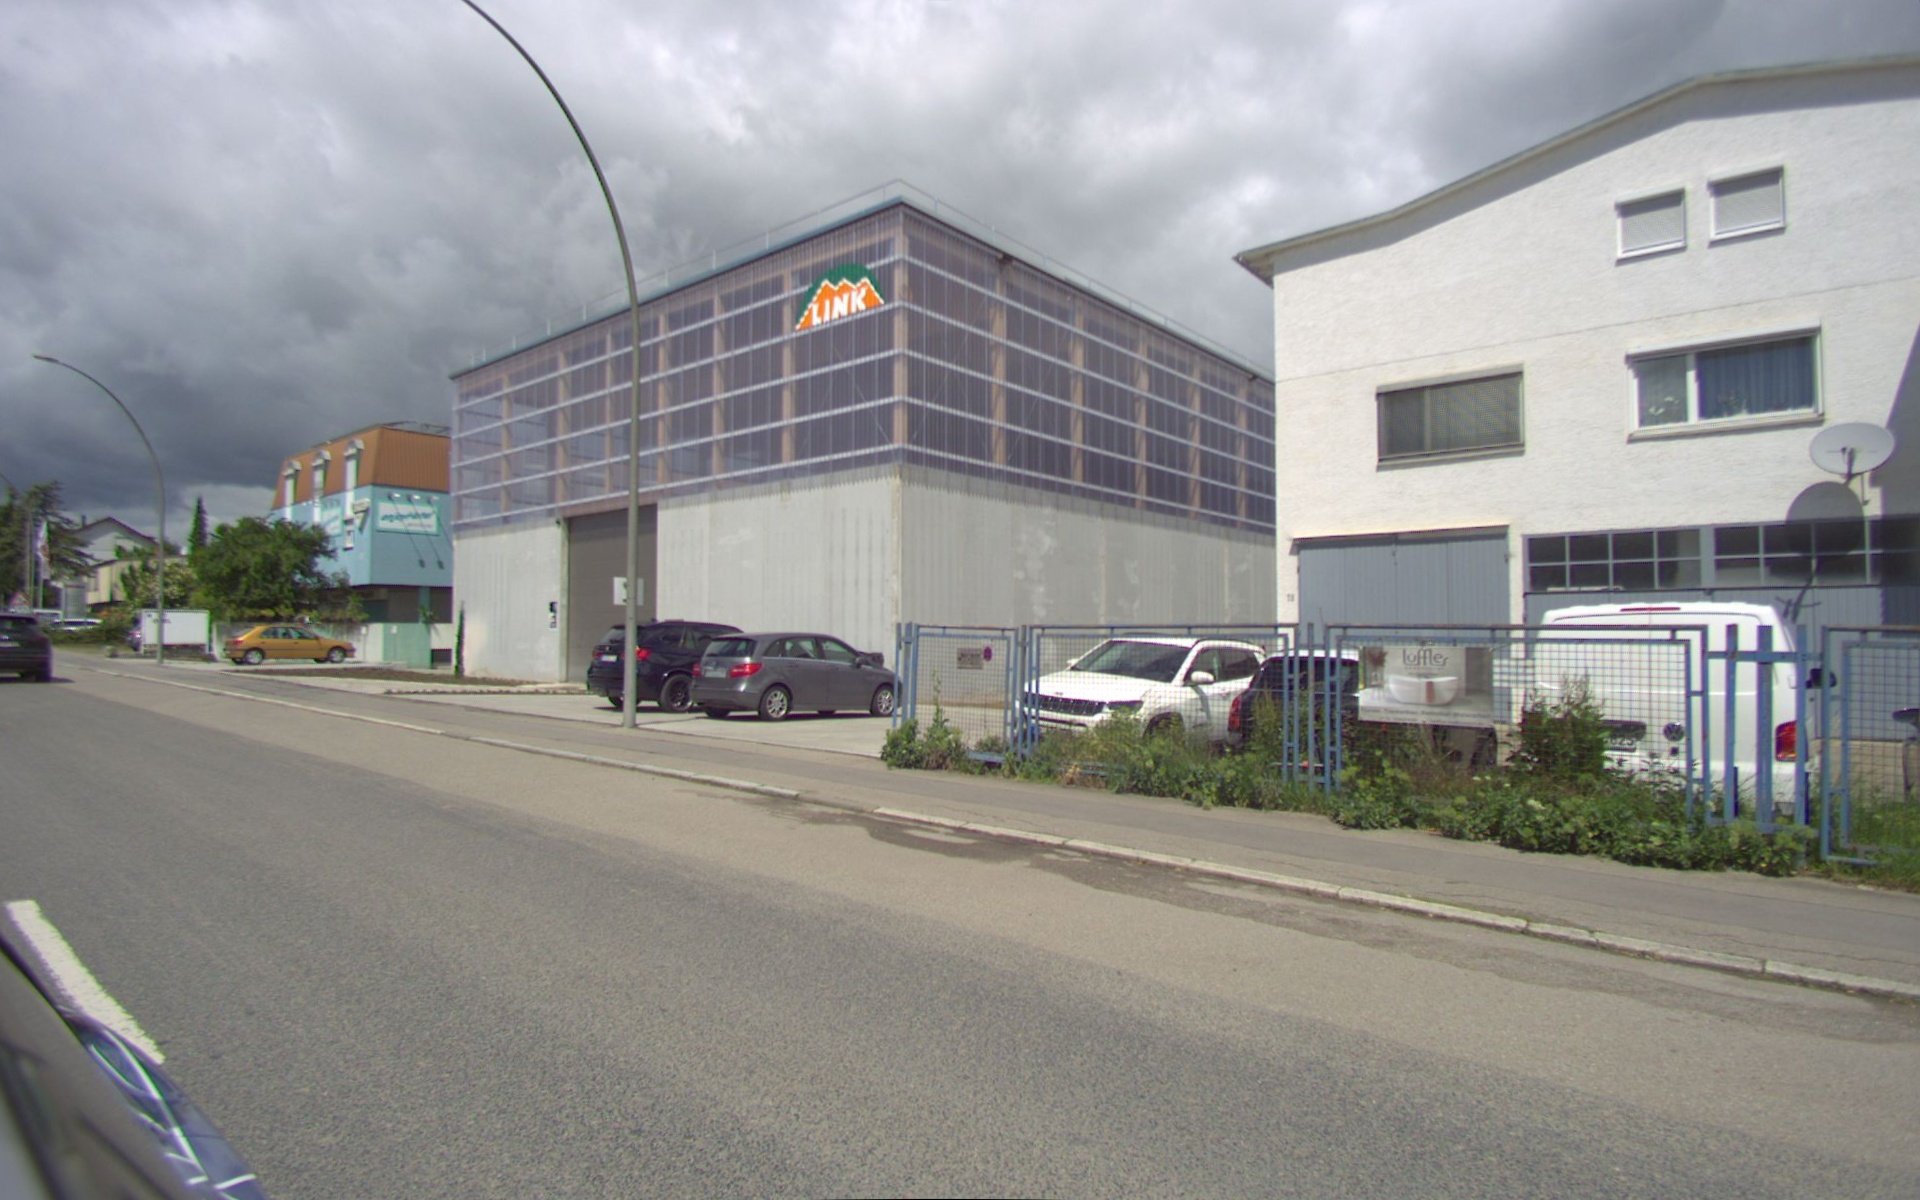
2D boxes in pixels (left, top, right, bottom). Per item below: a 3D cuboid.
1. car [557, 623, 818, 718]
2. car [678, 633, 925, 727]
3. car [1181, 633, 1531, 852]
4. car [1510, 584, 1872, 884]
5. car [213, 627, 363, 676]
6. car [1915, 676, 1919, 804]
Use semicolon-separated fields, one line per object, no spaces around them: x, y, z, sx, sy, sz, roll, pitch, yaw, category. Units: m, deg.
-5.257;1.438;20.097;2.194;1.645;4.583;-2;-6;37;car
-2.763;1.480;18.566;1.823;1.517;4.419;-2;-6;37;car
4.126;1.192;10.110;1.990;1.578;4.236;3;0;40;car
6.338;0.905;8.710;1.990;1.850;4.236;3;0;40;car
-24.036;1.794;36.316;1.823;1.503;4.111;-2;0;37;car
8.169;1.025;6.965;1.990;1.496;4.236;3;0;40;car
